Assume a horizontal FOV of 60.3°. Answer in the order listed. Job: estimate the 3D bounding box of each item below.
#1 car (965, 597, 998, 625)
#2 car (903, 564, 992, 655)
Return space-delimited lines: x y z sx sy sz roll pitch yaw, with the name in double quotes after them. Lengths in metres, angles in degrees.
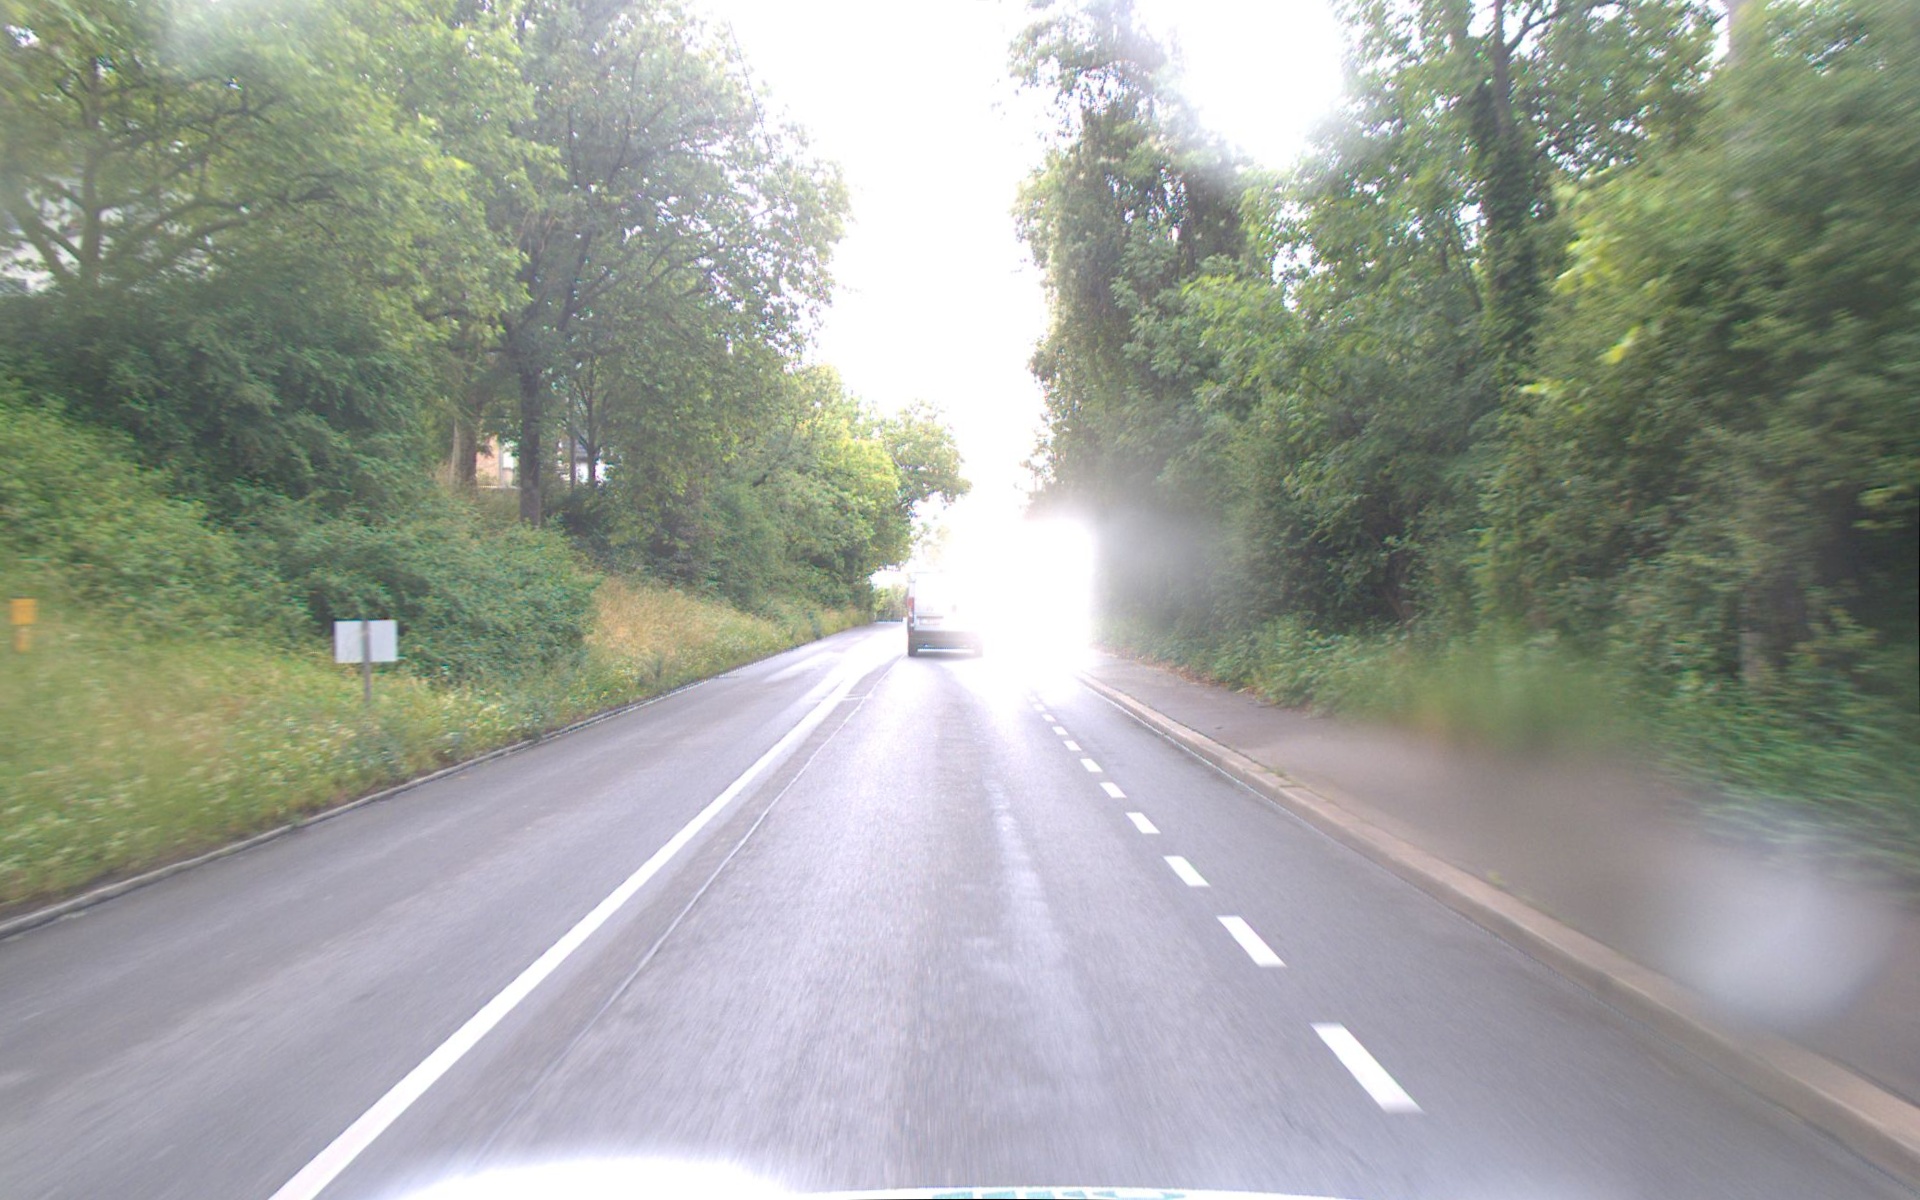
1.442 0.772 114.062 2.191 1.836 4.713 1 0 0 "car"
-0.346 0.256 44.084 2.192 2.252 4.712 1 0 -1 "car"
